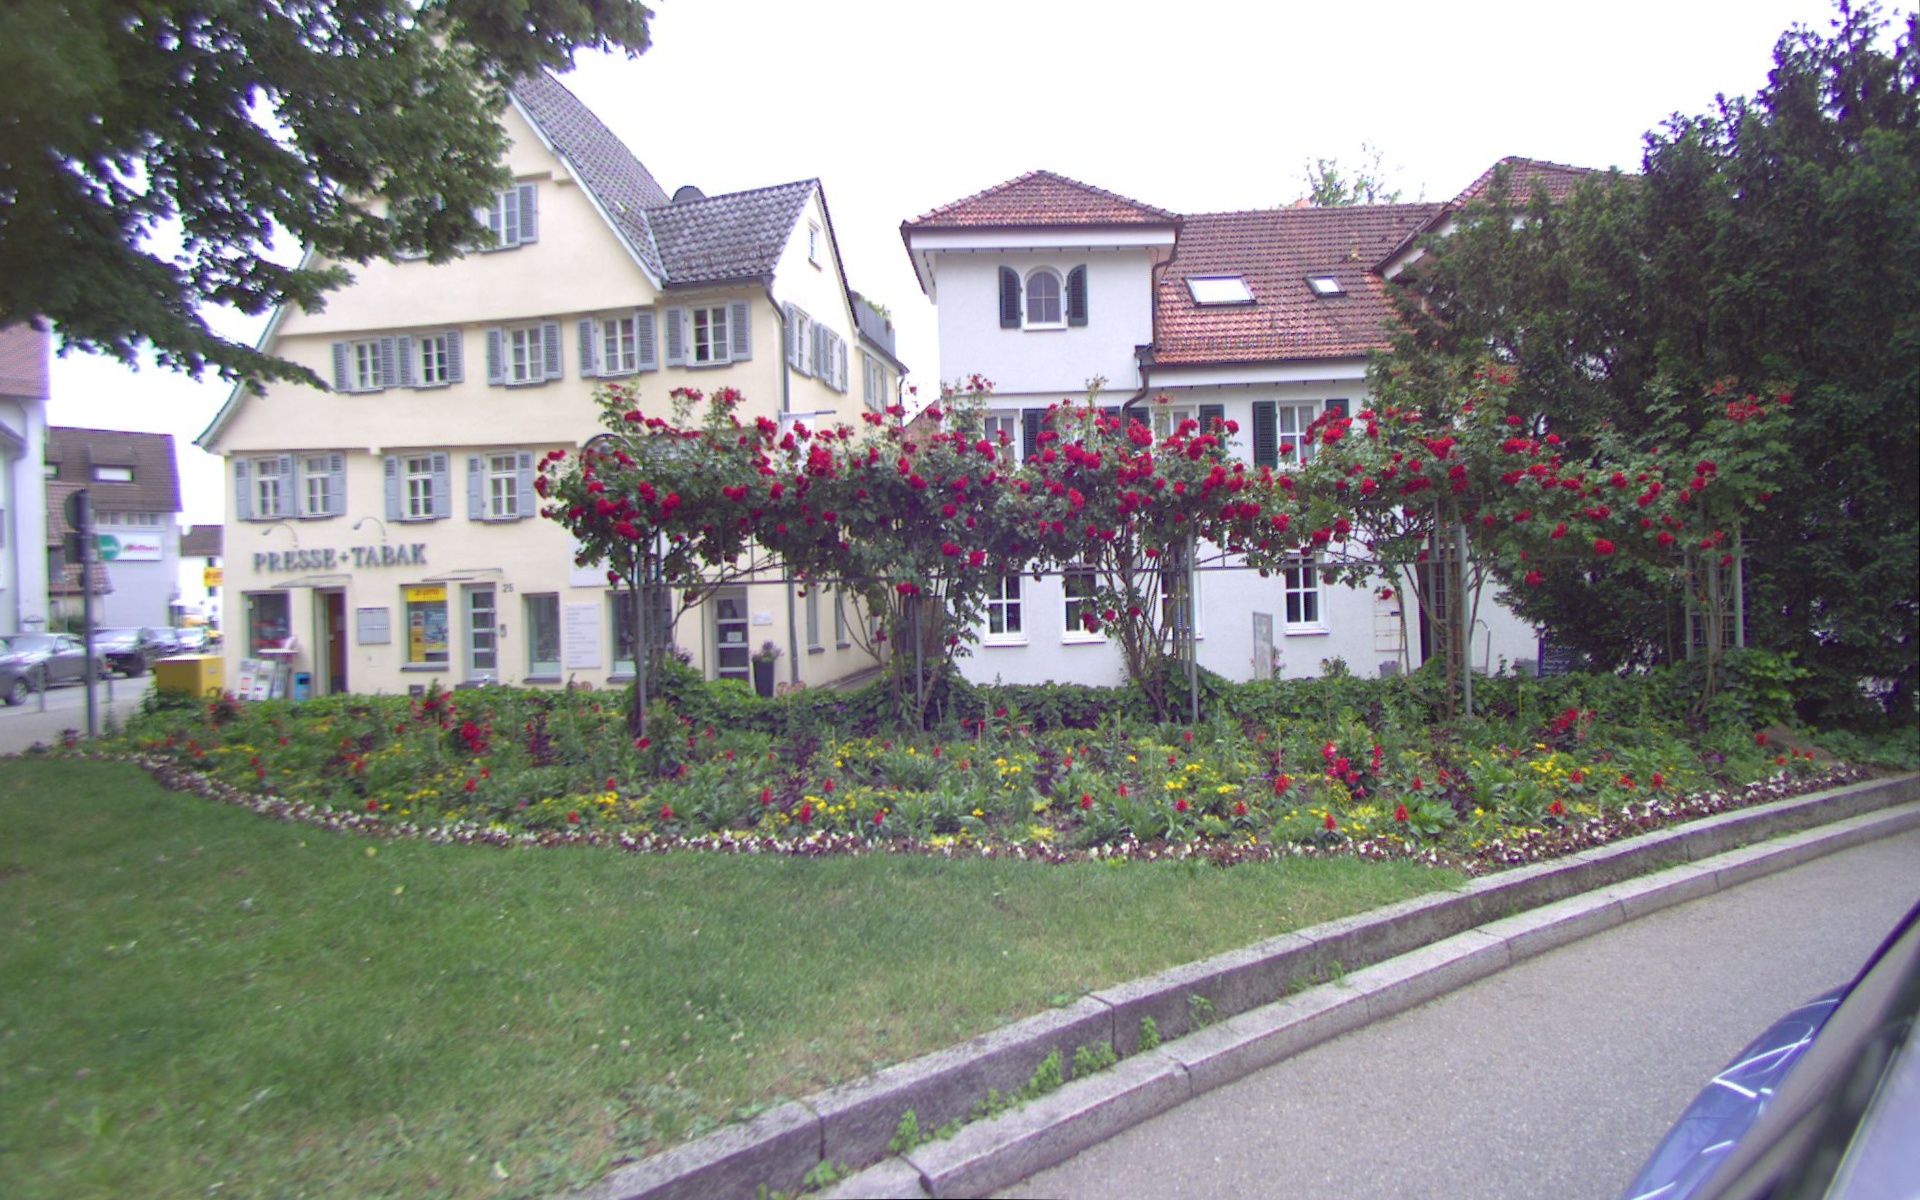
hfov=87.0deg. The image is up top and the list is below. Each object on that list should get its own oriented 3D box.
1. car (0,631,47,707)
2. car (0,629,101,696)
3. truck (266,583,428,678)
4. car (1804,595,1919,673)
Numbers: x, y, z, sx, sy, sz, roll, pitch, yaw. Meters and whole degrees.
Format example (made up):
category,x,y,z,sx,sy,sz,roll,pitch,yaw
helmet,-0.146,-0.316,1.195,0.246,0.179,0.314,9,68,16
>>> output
category,x,y,z,sx,sy,sz,roll,pitch,yaw
car,-20.551,1.463,20.242,1.746,1.534,4.016,-1,0,-15
car,-24.939,1.614,26.698,2.210,1.530,4.531,-1,0,-23
truck,-19.639,0.947,32.779,2.783,2.725,5.303,-2,-1,-11
car,18.749,0.625,19.149,1.858,1.436,3.811,-1,0,-22
